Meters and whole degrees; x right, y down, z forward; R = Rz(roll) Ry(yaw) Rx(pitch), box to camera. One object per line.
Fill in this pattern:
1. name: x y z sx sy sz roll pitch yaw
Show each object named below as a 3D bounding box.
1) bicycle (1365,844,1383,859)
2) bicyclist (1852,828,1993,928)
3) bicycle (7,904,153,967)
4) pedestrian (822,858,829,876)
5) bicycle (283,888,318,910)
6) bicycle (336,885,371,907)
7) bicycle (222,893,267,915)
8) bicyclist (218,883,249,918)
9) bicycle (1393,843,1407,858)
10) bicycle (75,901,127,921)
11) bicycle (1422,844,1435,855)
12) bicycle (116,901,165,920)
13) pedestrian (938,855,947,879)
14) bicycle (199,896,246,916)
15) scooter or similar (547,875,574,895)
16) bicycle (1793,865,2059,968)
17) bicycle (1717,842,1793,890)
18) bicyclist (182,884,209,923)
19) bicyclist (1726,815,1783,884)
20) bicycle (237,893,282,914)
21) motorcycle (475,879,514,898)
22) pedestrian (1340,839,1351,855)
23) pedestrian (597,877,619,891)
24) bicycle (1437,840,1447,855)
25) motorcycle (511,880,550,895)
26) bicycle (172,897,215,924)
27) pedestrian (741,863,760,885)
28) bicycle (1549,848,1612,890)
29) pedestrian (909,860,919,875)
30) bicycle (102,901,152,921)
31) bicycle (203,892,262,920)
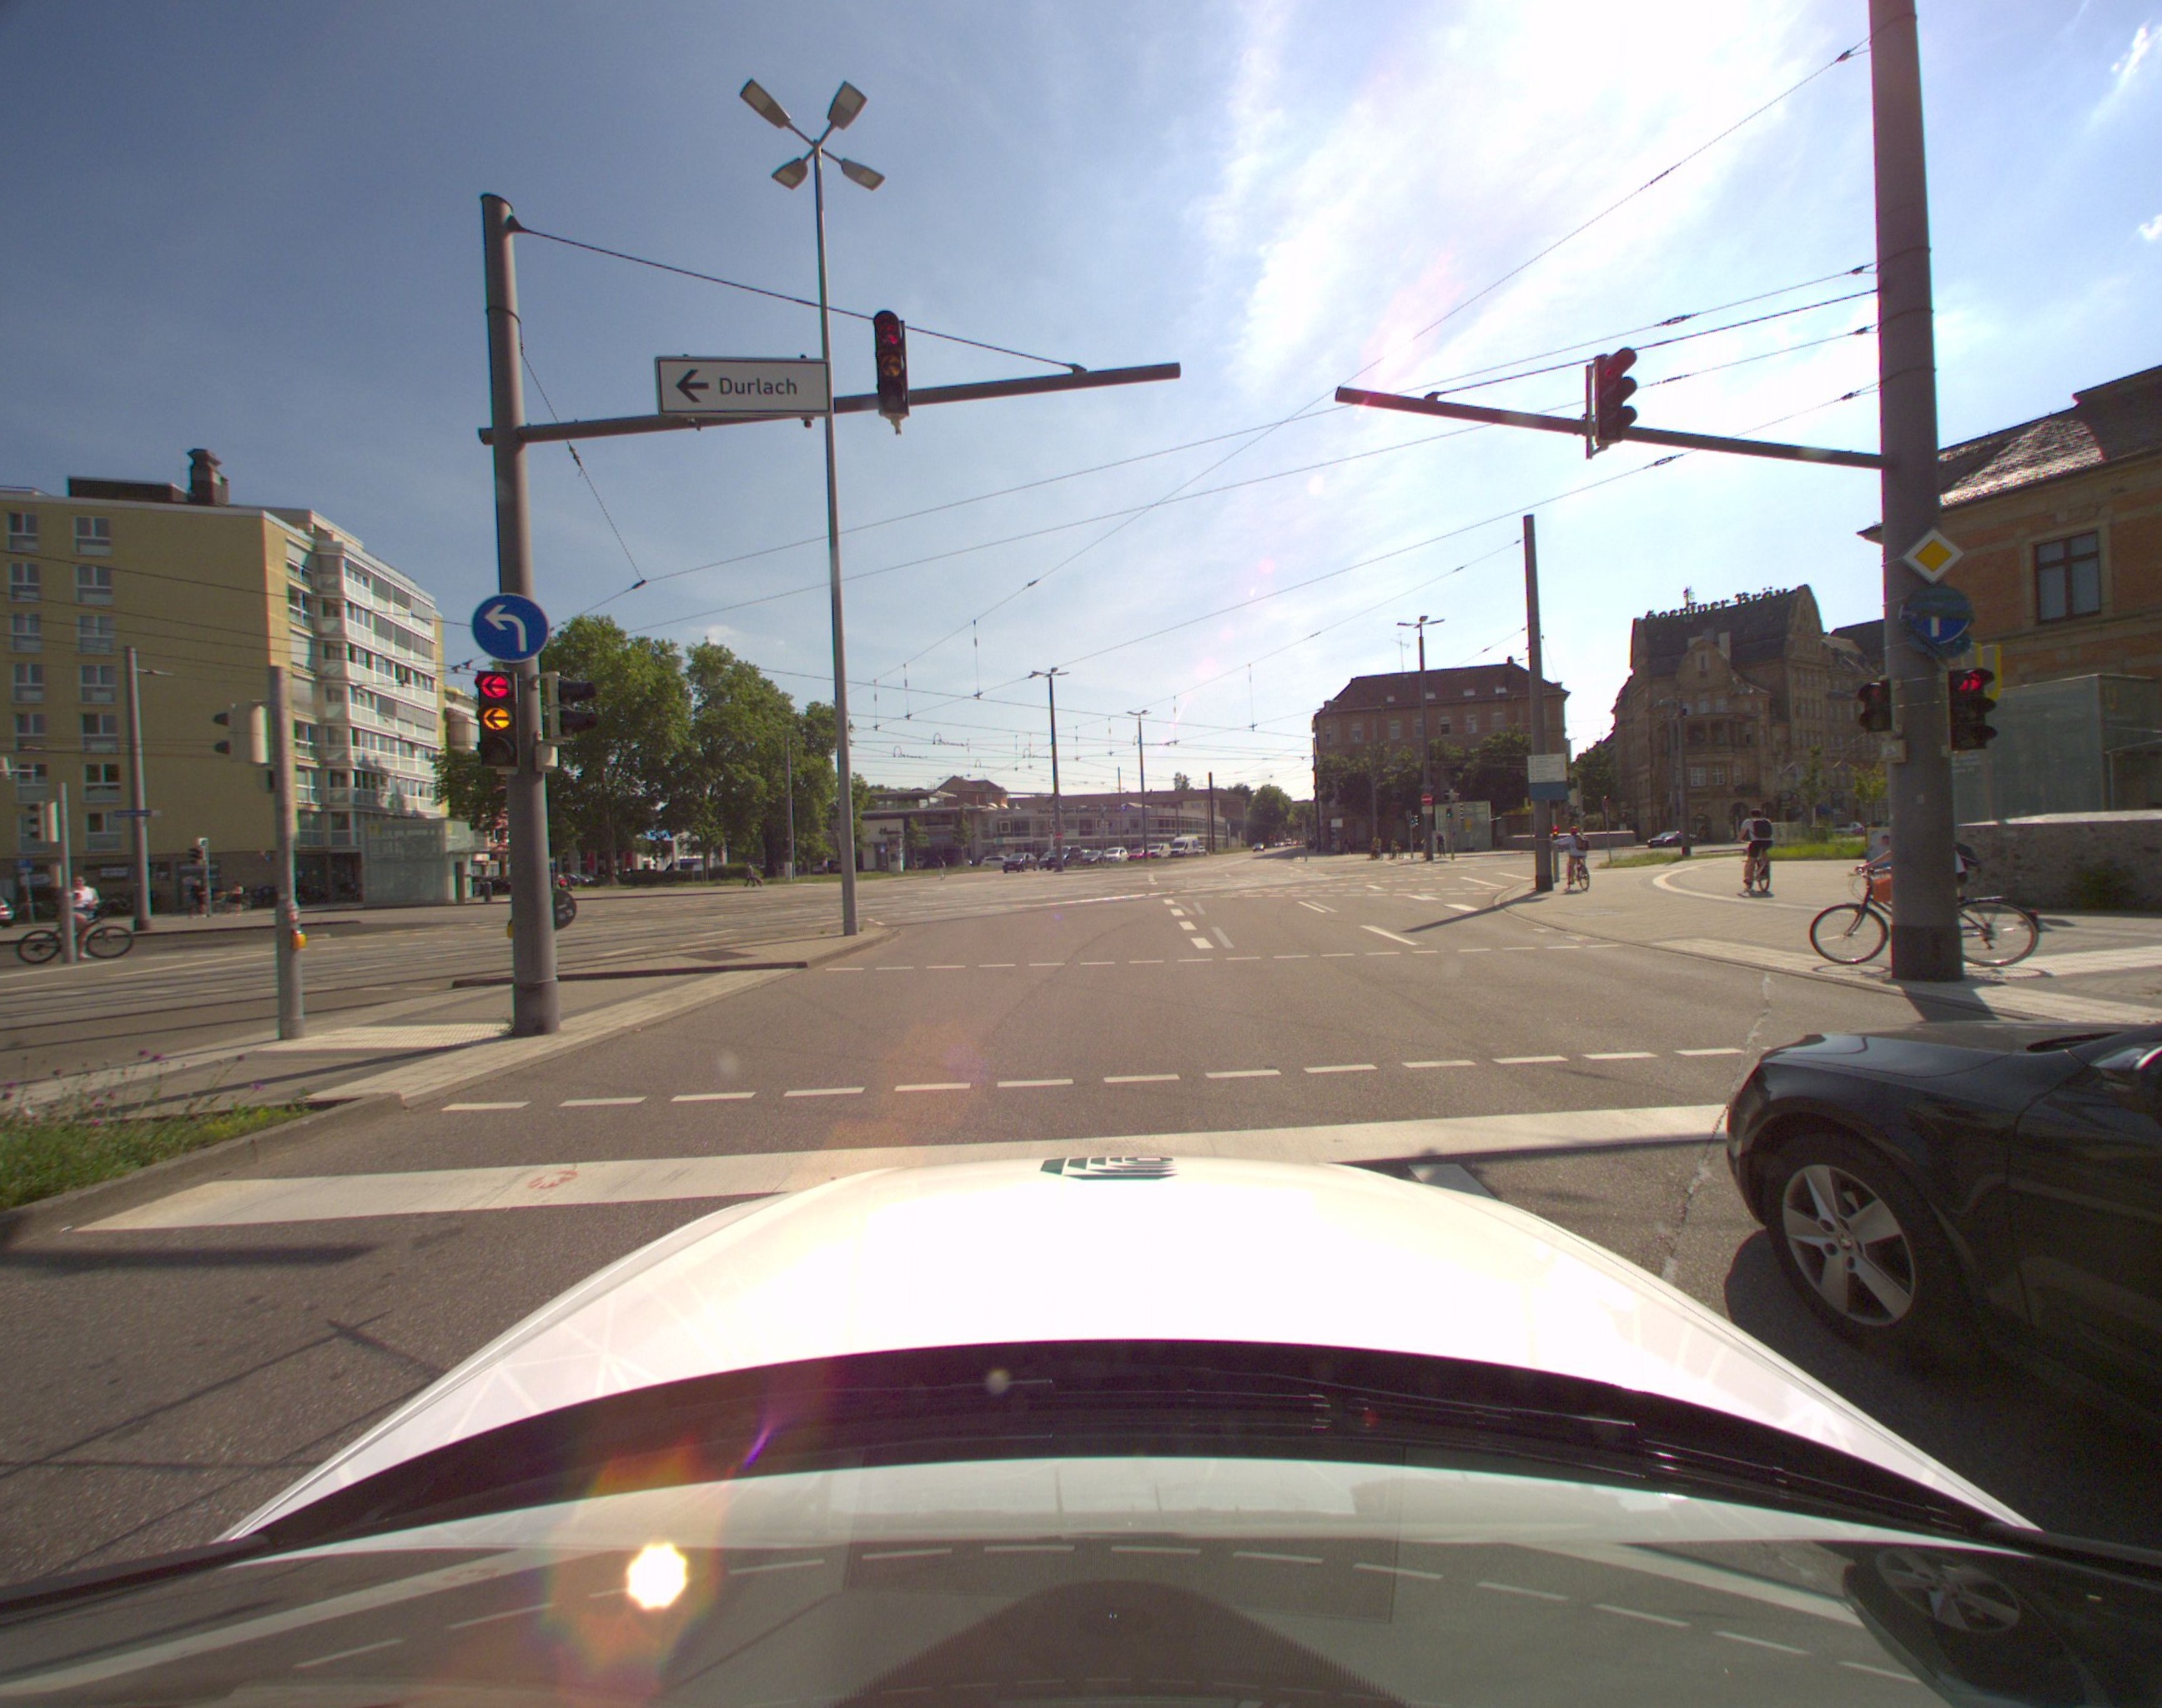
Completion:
1. bicycle: 21.986 -0.194 61.115 0.920 1.069 2.755 -1 -1 12
2. bicyclist: 9.323 0.264 9.067 0.904 1.029 0.721 -5 -1 35
3. bicycle: -20.914 1.690 17.053 1.843 1.083 0.749 -4 0 -9
4. pedestrian: -23.625 1.185 75.222 0.388 1.596 0.467 -1 -1 25
5. bicycle: -46.282 2.670 48.304 0.540 1.186 1.881 -2 0 -13
6. bicycle: -44.384 2.547 49.681 0.581 1.219 1.754 -3 1 -5
7. bicycle: -46.954 2.804 45.733 1.747 1.085 0.583 -3 3 -4
8. bicyclist: -39.217 2.149 37.703 0.728 1.572 0.613 -3 -1 2
9. bicycle: 23.781 -0.281 60.681 0.918 1.069 2.856 -1 1 21
10. bicycle: -53.558 3.125 44.523 1.754 0.916 0.581 -3 1 -15
11. bicycle: 25.891 -0.334 60.737 0.497 0.866 1.590 0 0 7
12. bicycle: -51.982 3.117 45.014 1.750 0.916 0.582 -3 1 -8
13. pedestrian: -9.219 0.859 54.119 0.456 1.605 0.396 0 -1 -34
14. bicycle: -48.411 2.911 45.936 1.751 0.965 0.582 -3 1 -11
15. scooter or similar: -32.092 1.911 50.214 1.351 1.119 0.519 -2 0 11
16. bicycle: 9.298 0.704 9.095 1.894 1.015 0.721 -5 -1 35
17. bicycle: 15.099 0.269 18.300 0.708 1.015 2.031 -1 -1 22
18. bicyclist: -40.782 2.262 37.498 0.584 1.735 0.613 -3 -1 -22
19. bicyclist: 15.080 -0.095 18.258 0.708 1.488 0.955 -1 -1 22
20. bicycle: -46.806 2.797 46.396 1.750 1.043 0.582 -3 1 -9
21. motorcycle: -35.742 2.127 49.654 2.019 1.062 0.642 -2 0 9
22. pedestrian: 23.743 -0.631 73.020 0.616 1.433 0.705 0 -1 -36
23. pedestrian: -33.159 2.127 57.102 1.175 0.892 0.818 -2 0 -18
24. bicycle: 27.033 -0.474 60.918 0.661 1.069 2.478 -1 1 24
25. motorcycle: -36.858 2.228 54.566 0.632 0.842 2.051 -2 0 35
26. bicycle: -40.928 2.573 37.567 0.584 1.130 1.784 -3 -1 -21
27. pedestrian: -21.134 1.277 52.140 1.117 1.404 0.652 0 -1 -20
28. bicycle: 13.582 0.385 22.202 0.710 1.015 2.026 -5 0 10
29. pedestrian: -18.145 1.465 88.289 0.951 1.580 0.534 0 -1 -2
30. bicycle: -52.060 3.113 44.451 1.750 0.916 0.582 -3 1 -8
31. bicycle: -39.233 2.380 37.665 0.749 1.130 1.798 -2 0 3
